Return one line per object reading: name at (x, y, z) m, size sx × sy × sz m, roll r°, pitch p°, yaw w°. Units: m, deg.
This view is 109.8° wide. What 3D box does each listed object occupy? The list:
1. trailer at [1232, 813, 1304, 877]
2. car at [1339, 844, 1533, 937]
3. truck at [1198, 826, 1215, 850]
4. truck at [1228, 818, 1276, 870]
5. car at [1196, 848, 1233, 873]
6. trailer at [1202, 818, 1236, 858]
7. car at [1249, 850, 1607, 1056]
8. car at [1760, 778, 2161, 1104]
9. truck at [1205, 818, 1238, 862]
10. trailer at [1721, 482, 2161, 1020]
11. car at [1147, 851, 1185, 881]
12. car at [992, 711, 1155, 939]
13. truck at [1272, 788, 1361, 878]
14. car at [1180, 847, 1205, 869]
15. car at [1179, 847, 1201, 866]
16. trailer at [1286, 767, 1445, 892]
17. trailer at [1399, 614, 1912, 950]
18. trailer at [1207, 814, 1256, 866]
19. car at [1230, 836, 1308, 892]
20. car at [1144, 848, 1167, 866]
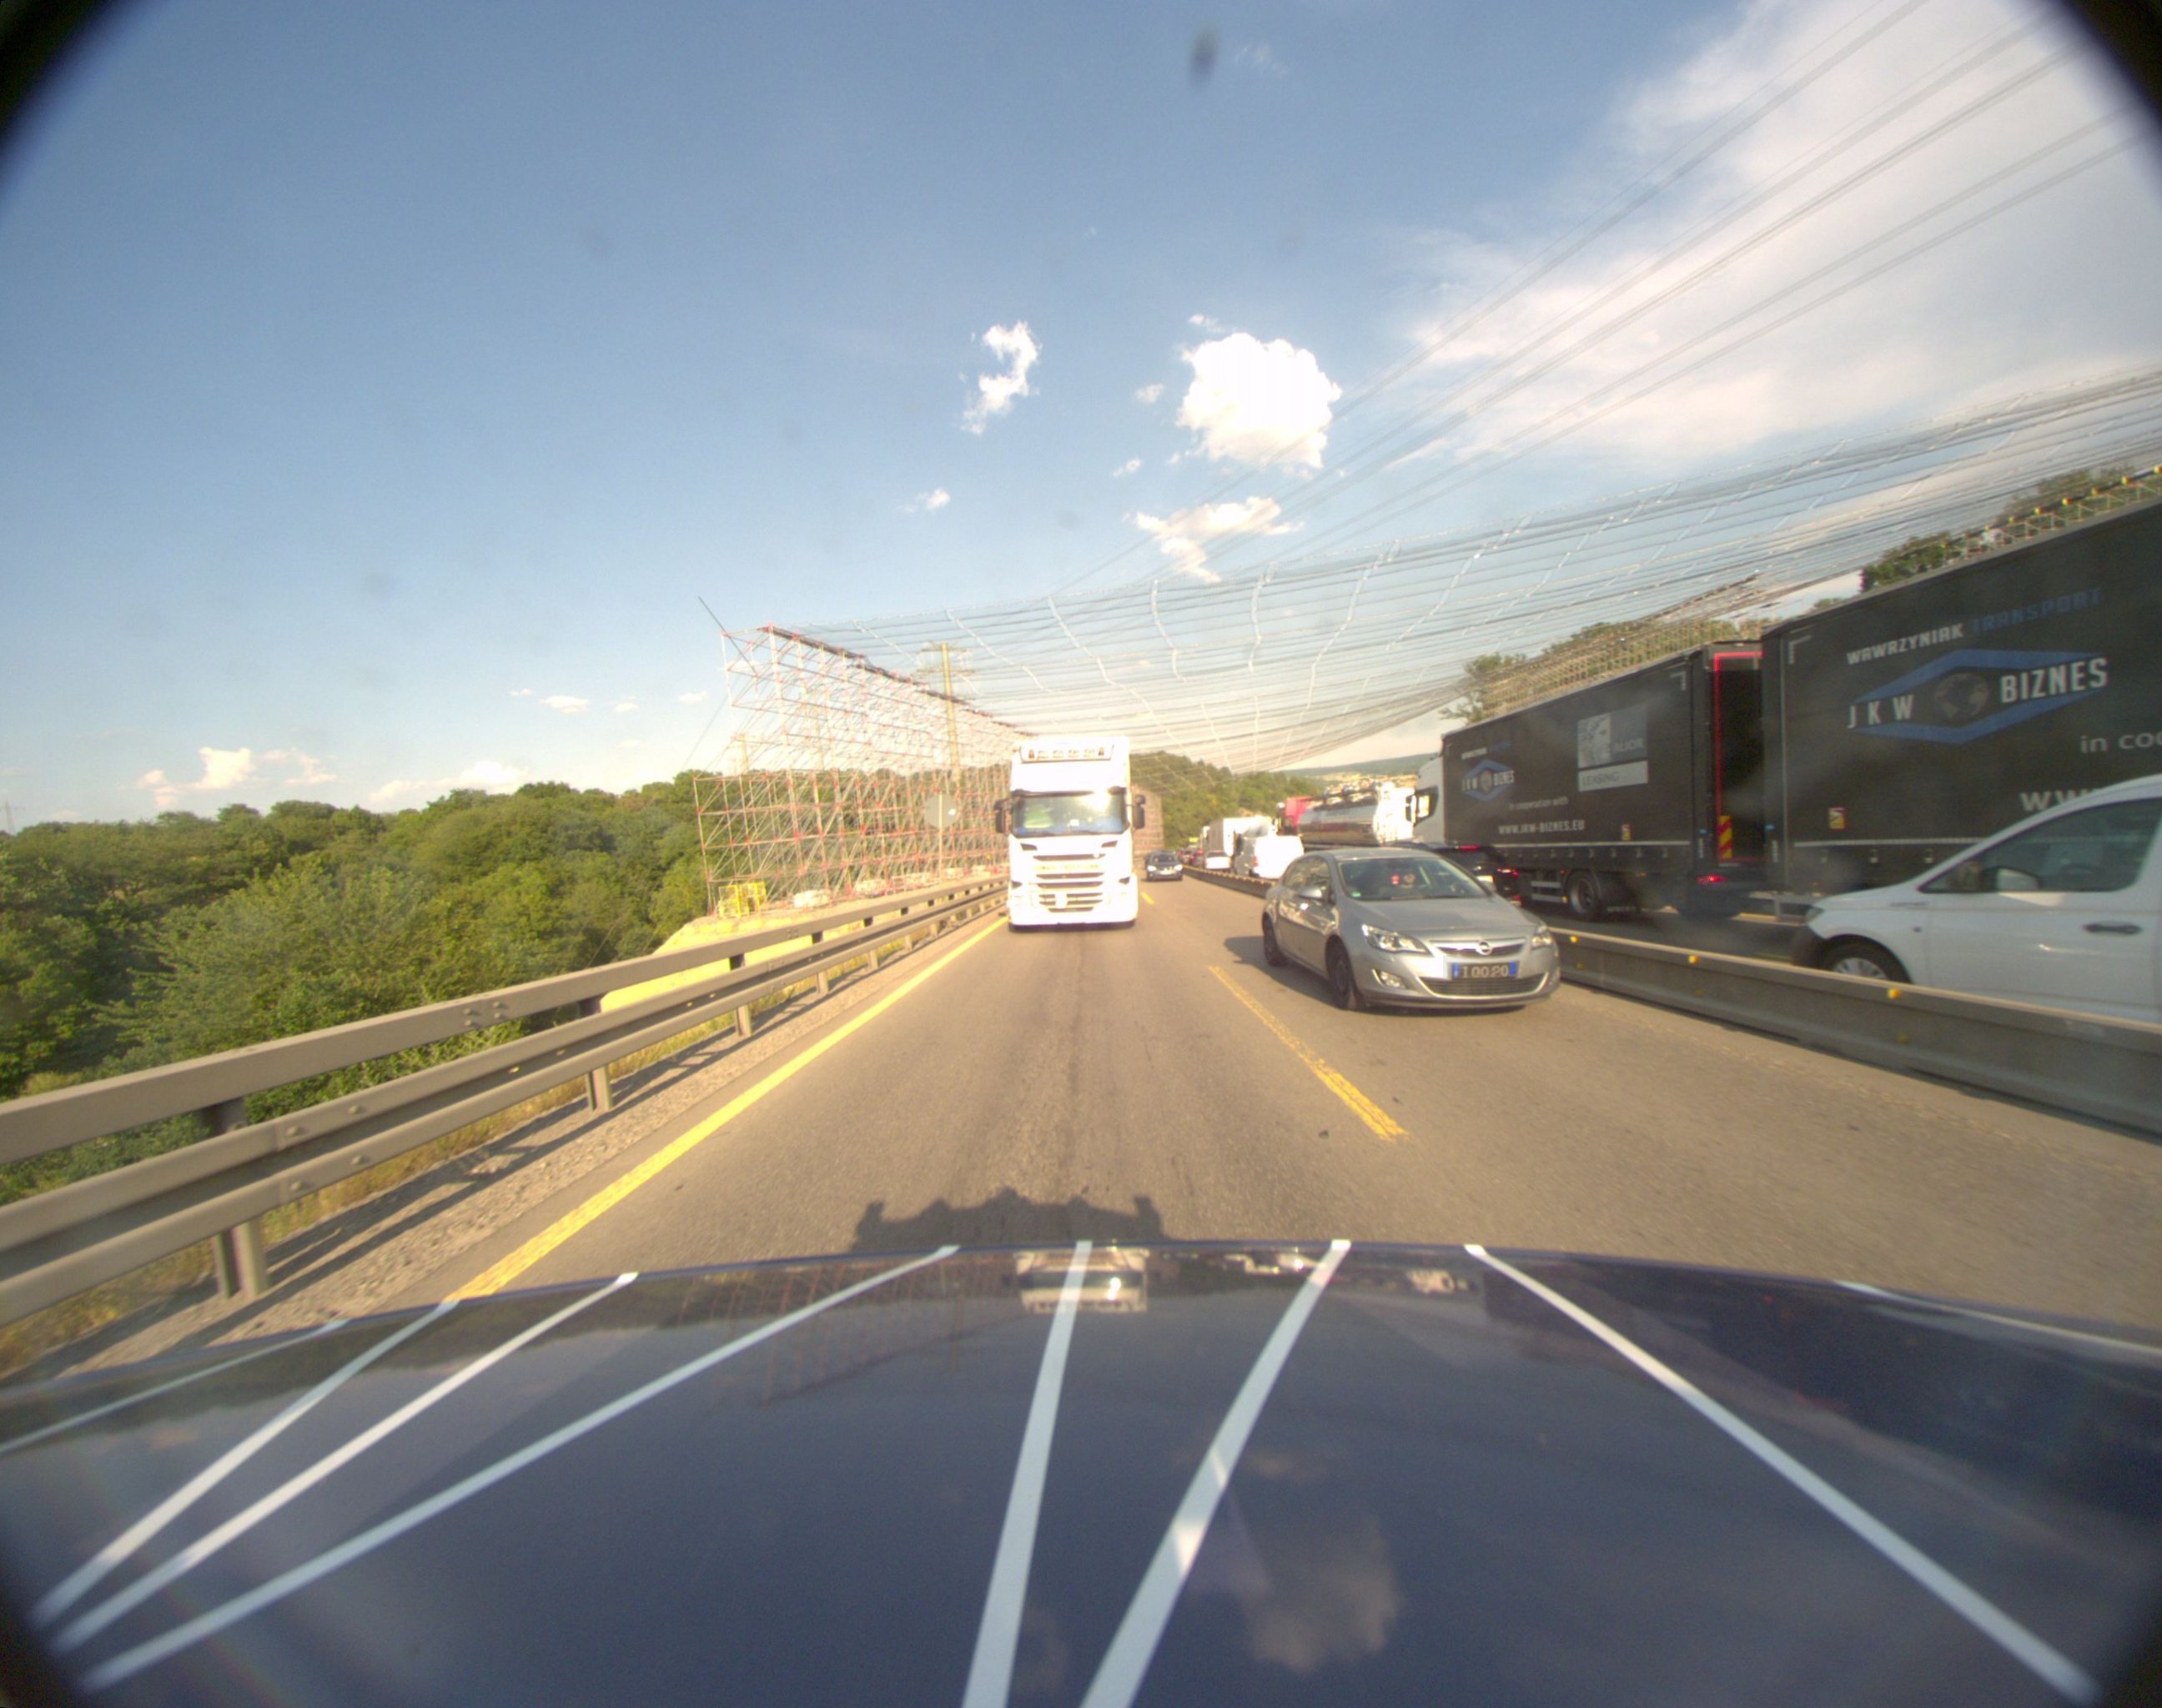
trailer at (11.272, -0.580, 46.954) m, size 2.312 × 3.342 × 12.054 m, roll -2°, pitch 1°, yaw 5°
car at (6.607, 0.570, 14.770) m, size 1.684 × 1.470 × 4.602 m, roll -2°, pitch 1°, yaw 1°
truck at (23.787, -2.956, 143.576) m, size 2.726 × 4.203 × 14.177 m, roll -2°, pitch 1°, yaw 10°
truck at (11.766, -0.685, 52.725) m, size 2.419 × 3.351 × 5.618 m, roll -2°, pitch 1°, yaw 4°
car at (8.194, 0.365, 47.029) m, size 1.631 × 1.418 × 4.658 m, roll -2°, pitch 1°, yaw 2°
trailer at (15.376, -1.752, 85.523) m, size 2.675 × 3.992 × 13.337 m, roll -2°, pitch 1°, yaw 6°
car at (3.110, 0.743, 7.929) m, size 1.760 × 1.464 × 4.352 m, roll -2°, pitch 1°, yaw 1°
car at (6.463, 0.423, 4.023) m, size 1.761 × 1.685 × 4.453 m, roll -2°, pitch 1°, yaw 0°
truck at (13.504, -1.343, 73.374) m, size 2.479 × 4.022 × 5.618 m, roll -2°, pitch 1°, yaw 5°
trailer at (9.597, -0.820, 5.672) m, size 2.449 × 4.165 × 8.542 m, roll -2°, pitch 1°, yaw 0°
car at (4.249, 0.573, 38.392) m, size 1.764 × 1.376 × 3.823 m, roll -2°, pitch 1°, yaw 5°
car at (-0.018, -0.576, 18.107) m, size 2.858 × 4.092 × 8.280 m, roll -2°, pitch 1°, yaw 2°
truck at (10.767, -0.926, 35.248) m, size 2.438 × 3.763 × 5.617 m, roll -2°, pitch 1°, yaw 2°
car at (8.397, 0.287, 57.387) m, size 1.510 × 1.520 × 3.587 m, roll -2°, pitch 1°, yaw 3°
car at (10.027, 0.222, 70.268) m, size 1.754 × 1.577 × 3.944 m, roll -2°, pitch 1°, yaw 5°
trailer at (10.382, -0.827, 29.401) m, size 2.312 × 3.768 × 12.054 m, roll -2°, pitch 1°, yaw 4°
trailer at (9.726, -1.003, 15.203) m, size 2.482 × 4.304 × 10.510 m, roll -2°, pitch 1°, yaw 1°
trailer at (12.907, -1.183, 66.406) m, size 2.433 × 3.940 × 14.101 m, roll -2°, pitch 1°, yaw 5°
car at (7.115, 0.311, 29.304) m, size 1.821 × 1.914 × 4.835 m, roll -2°, pitch 1°, yaw 1°
car at (6.348, 0.232, 64.717) m, size 1.675 × 1.376 × 3.822 m, roll -2°, pitch 1°, yaw 2°
